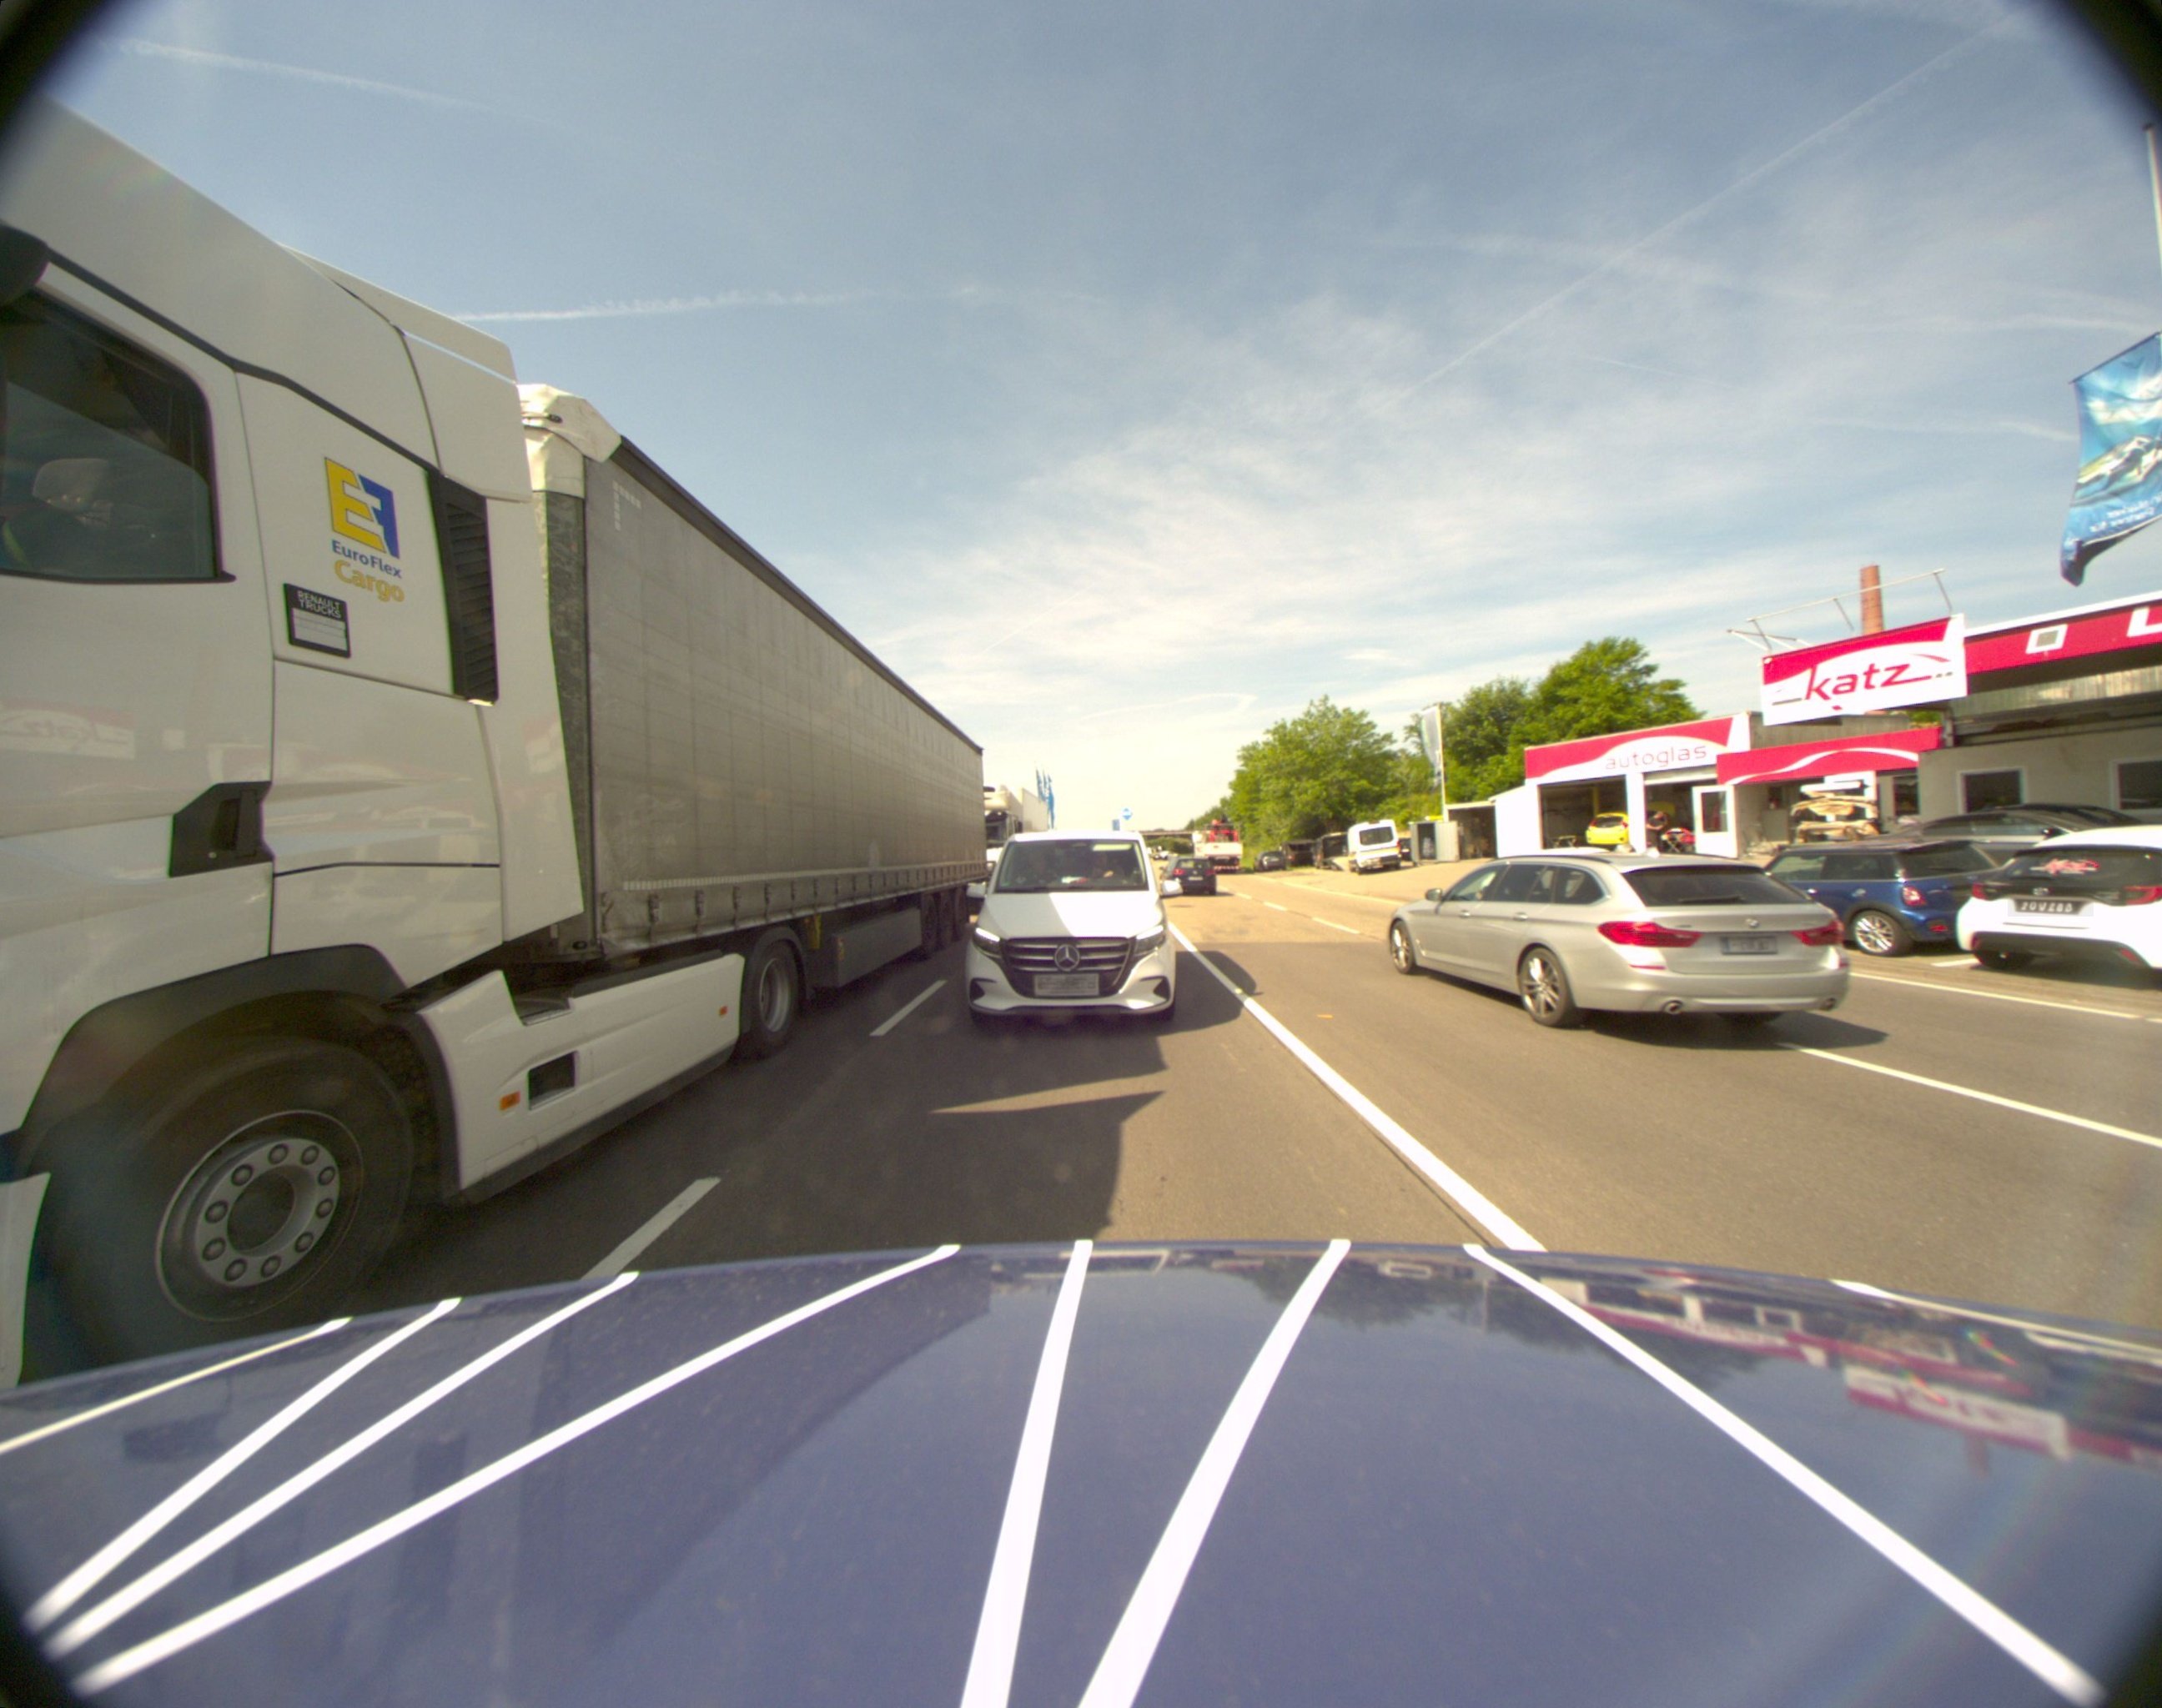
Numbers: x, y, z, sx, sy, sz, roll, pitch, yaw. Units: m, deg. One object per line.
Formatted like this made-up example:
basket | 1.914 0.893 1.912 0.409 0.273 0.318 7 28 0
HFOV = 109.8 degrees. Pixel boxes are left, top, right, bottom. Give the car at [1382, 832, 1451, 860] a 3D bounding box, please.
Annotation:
car | 20.416 -0.493 46.293 3.675 1.521 1.736 -3 1 -22

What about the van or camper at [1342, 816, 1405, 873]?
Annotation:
van or camper | 14.986 -0.499 39.232 2.157 2.484 5.955 -6 0 15

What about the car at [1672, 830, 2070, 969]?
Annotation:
car | 10.989 0.531 11.046 1.783 1.485 3.781 -6 0 2

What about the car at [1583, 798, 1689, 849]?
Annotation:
car | 22.665 -1.245 31.028 3.674 1.715 1.736 -6 2 -22

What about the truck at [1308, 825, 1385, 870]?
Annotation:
truck | 16.238 -0.432 47.046 2.335 2.283 8.805 -7 0 6

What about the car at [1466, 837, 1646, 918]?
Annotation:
car | 10.981 0.475 17.956 1.783 1.608 4.000 -3 1 2

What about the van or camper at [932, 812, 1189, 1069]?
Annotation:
van or camper | -0.064 0.682 8.677 1.998 2.002 5.291 -1 0 2

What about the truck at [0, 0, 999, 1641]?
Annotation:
truck | -3.693 -0.367 9.101 2.897 4.241 16.709 -2 0 2

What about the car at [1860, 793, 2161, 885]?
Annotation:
car | 18.841 -0.258 14.995 1.861 1.496 4.389 -5 -1 -22

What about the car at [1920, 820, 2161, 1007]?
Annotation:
car | 11.636 0.456 7.887 3.806 1.516 1.846 -5 1 -2

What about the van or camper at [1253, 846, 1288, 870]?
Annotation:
van or camper | 13.127 0.255 52.920 1.643 1.515 4.468 -3 1 5

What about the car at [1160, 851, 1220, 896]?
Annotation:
car | 4.161 0.690 29.589 1.810 1.551 4.387 -2 0 2

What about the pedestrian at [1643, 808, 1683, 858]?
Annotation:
pedestrian | 21.089 -0.764 27.546 0.724 1.752 0.895 -3 1 3

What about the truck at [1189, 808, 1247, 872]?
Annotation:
truck | 9.806 -0.955 55.559 2.963 4.184 10.649 -1 0 4

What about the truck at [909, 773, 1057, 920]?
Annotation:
truck | -2.766 -0.247 25.730 2.886 3.789 11.143 -2 0 3

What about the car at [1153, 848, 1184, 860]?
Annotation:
car | 11.807 -0.025 102.027 1.807 1.551 4.396 -1 1 44

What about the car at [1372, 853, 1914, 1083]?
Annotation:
car | 4.791 0.785 7.628 1.914 1.512 4.781 -2 0 1
